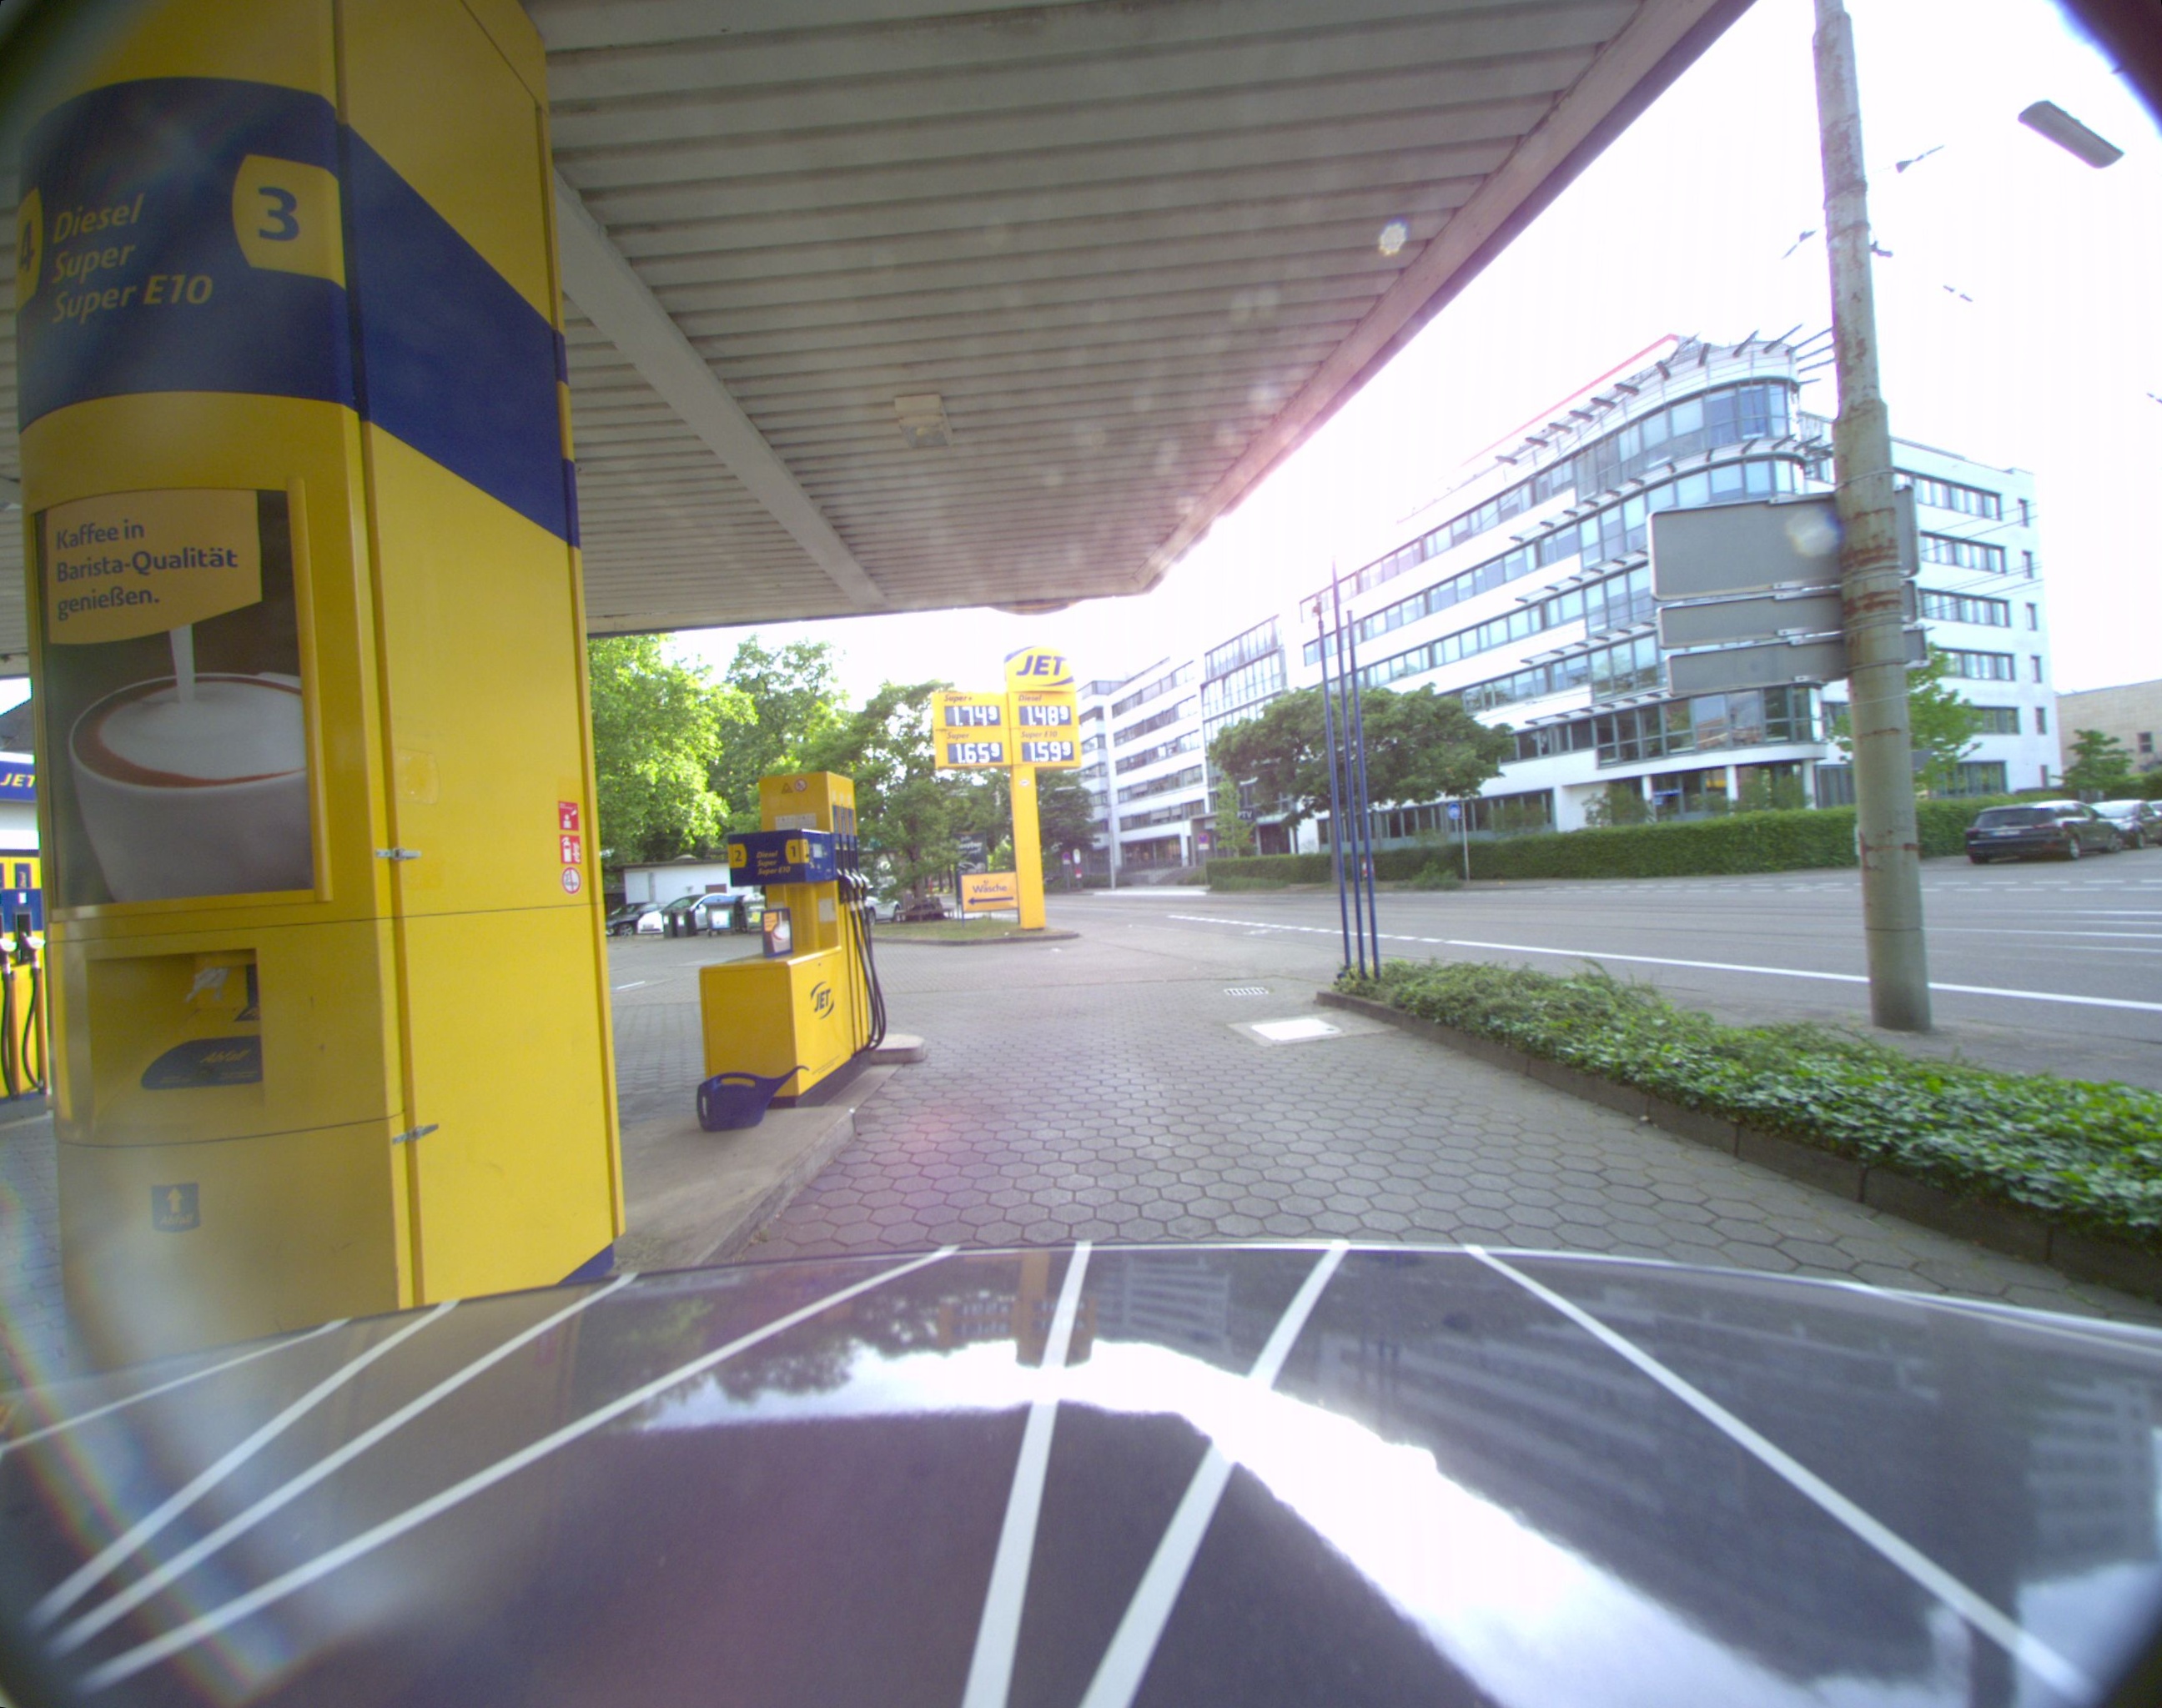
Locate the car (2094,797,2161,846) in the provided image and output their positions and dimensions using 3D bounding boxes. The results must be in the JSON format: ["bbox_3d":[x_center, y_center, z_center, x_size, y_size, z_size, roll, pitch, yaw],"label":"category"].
[{"bbox_3d":[37.122,-1.198,26.158,4.296,1.509,1.945,-4,-1,-27],"label":"car"}]

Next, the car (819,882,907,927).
[{"bbox_3d":[-8.642,2.009,30.513,1.772,1.591,4.398,-4,-4,6],"label":"car"}]

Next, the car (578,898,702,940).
[{"bbox_3d":[-17.799,2.599,30.918,1.771,1.367,4.398,-2,-1,14],"label":"car"}]

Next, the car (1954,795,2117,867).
[{"bbox_3d":[27.269,-0.664,21.703,4.296,1.681,2.010,-4,-1,-27],"label":"car"}]

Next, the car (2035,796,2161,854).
[{"bbox_3d":[32.540,-0.942,24.105,4.296,1.530,1.945,-4,-1,-27],"label":"car"}]

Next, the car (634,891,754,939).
[{"bbox_3d":[-15.297,2.373,30.324,1.771,1.591,4.398,-2,-1,14],"label":"car"}]

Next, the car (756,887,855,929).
[{"bbox_3d":[-11.660,2.275,32.503,1.771,1.591,4.400,-4,-4,13],"label":"car"}]
